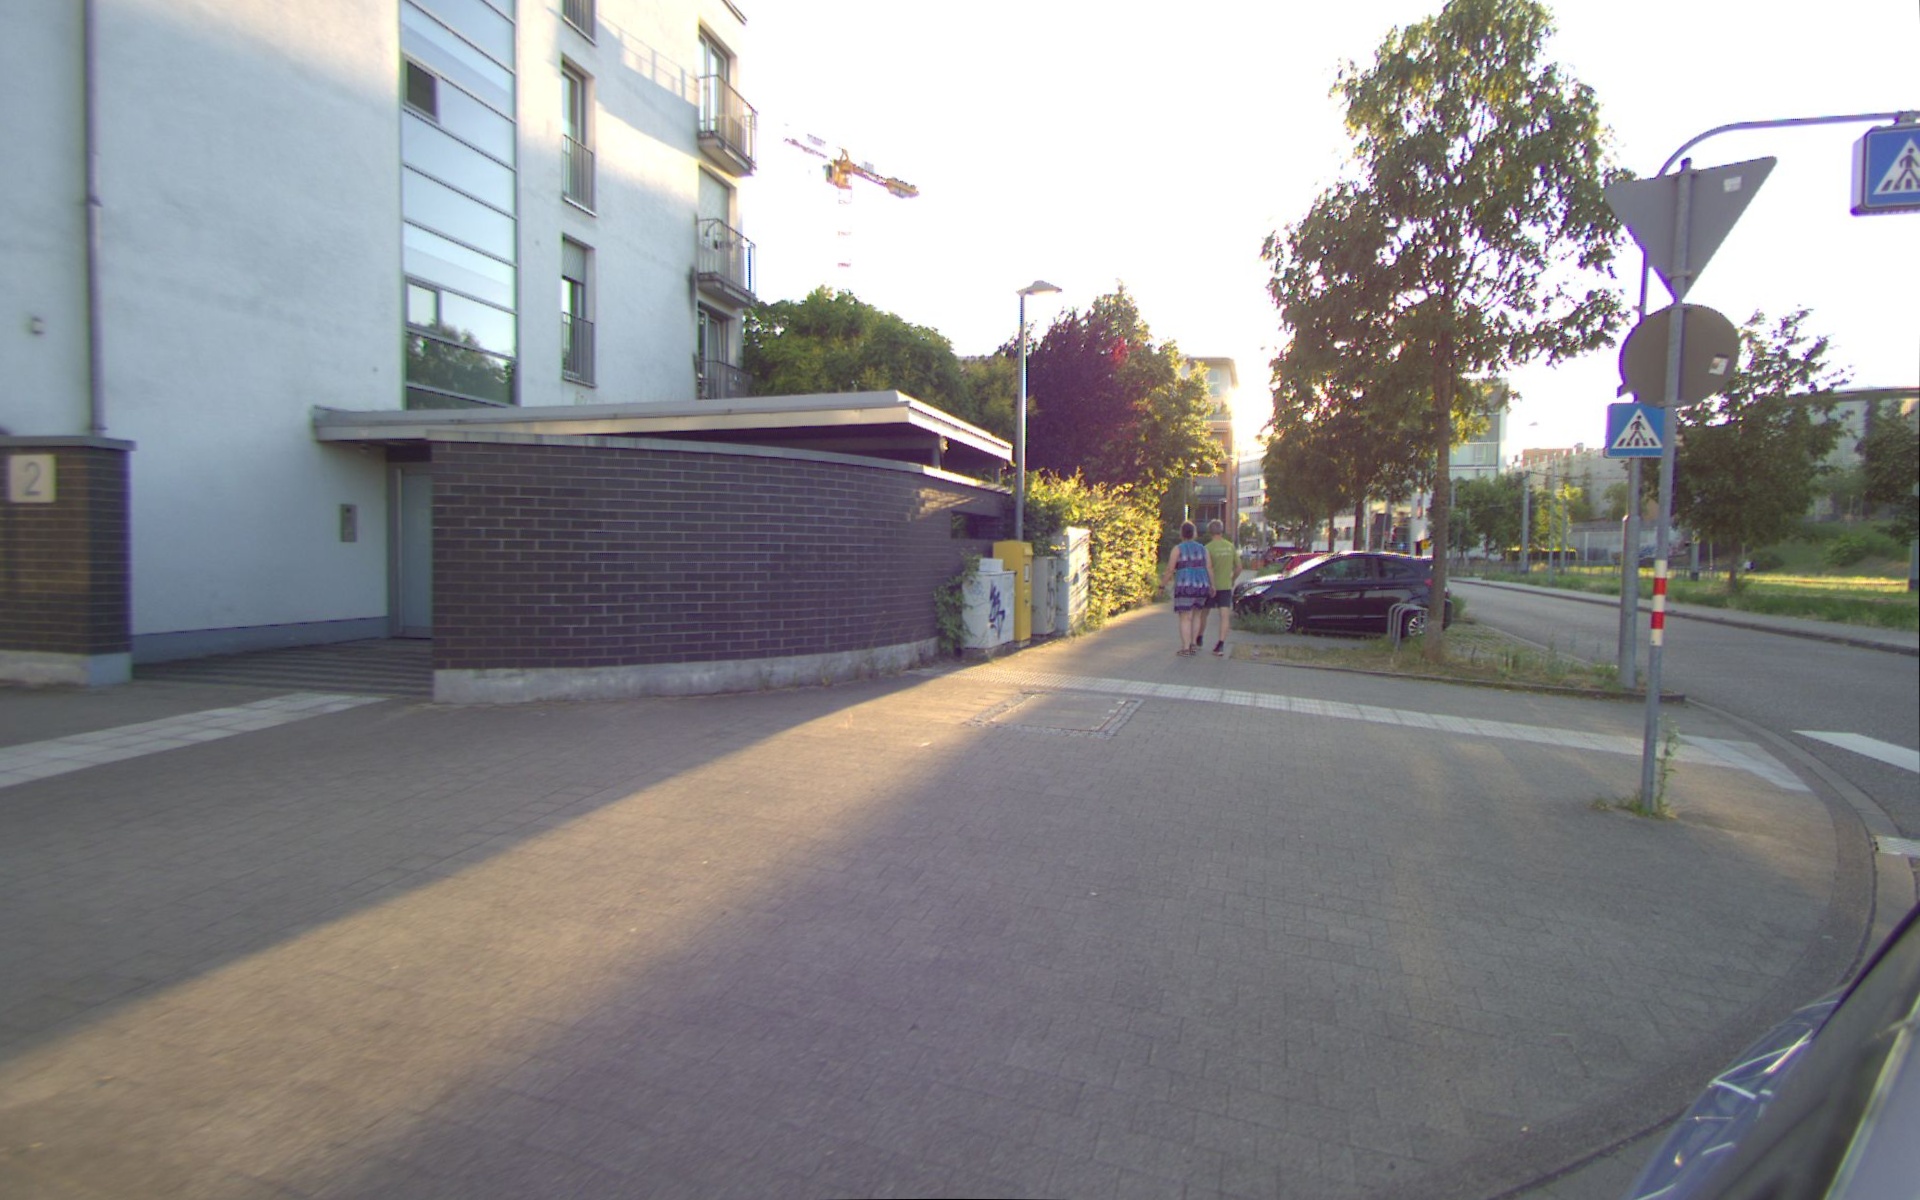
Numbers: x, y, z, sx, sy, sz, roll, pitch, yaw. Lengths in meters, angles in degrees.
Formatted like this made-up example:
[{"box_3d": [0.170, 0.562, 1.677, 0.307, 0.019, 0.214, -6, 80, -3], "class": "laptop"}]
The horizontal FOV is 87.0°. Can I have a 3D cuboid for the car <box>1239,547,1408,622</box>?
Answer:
[{"box_3d": [7.977, -0.383, 22.475, 3.364, 1.518, 1.587, 2, 3, 17], "class": "car"}]

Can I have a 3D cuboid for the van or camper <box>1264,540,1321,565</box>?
[{"box_3d": [24.057, -3.438, 73.333, 3.823, 1.715, 1.827, 0, 3, 15], "class": "van or camper"}]

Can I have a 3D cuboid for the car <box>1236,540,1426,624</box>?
[{"box_3d": [7.235, -0.402, 20.059, 3.364, 1.518, 1.587, 2, 3, 17], "class": "car"}]

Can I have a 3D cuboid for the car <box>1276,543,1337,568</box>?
[{"box_3d": [24.062, -3.093, 70.399, 3.819, 1.715, 1.698, 0, 3, 12], "class": "car"}]

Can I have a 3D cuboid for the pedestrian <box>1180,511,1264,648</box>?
[{"box_3d": [3.316, -0.271, 12.857, 0.611, 1.687, 0.745, 1, 3, -23], "class": "pedestrian"}]

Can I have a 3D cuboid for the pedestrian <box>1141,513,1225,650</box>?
[{"box_3d": [2.733, -0.241, 12.470, 0.643, 1.619, 0.715, 1, 4, -23], "class": "pedestrian"}]

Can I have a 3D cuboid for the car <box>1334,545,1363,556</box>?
[{"box_3d": [59.053, -7.590, 153.876, 3.823, 1.632, 1.696, 0, 3, 15], "class": "car"}]

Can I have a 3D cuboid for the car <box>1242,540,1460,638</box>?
[{"box_3d": [6.712, -0.247, 17.732, 3.364, 1.540, 1.683, 2, 3, 17], "class": "car"}]
